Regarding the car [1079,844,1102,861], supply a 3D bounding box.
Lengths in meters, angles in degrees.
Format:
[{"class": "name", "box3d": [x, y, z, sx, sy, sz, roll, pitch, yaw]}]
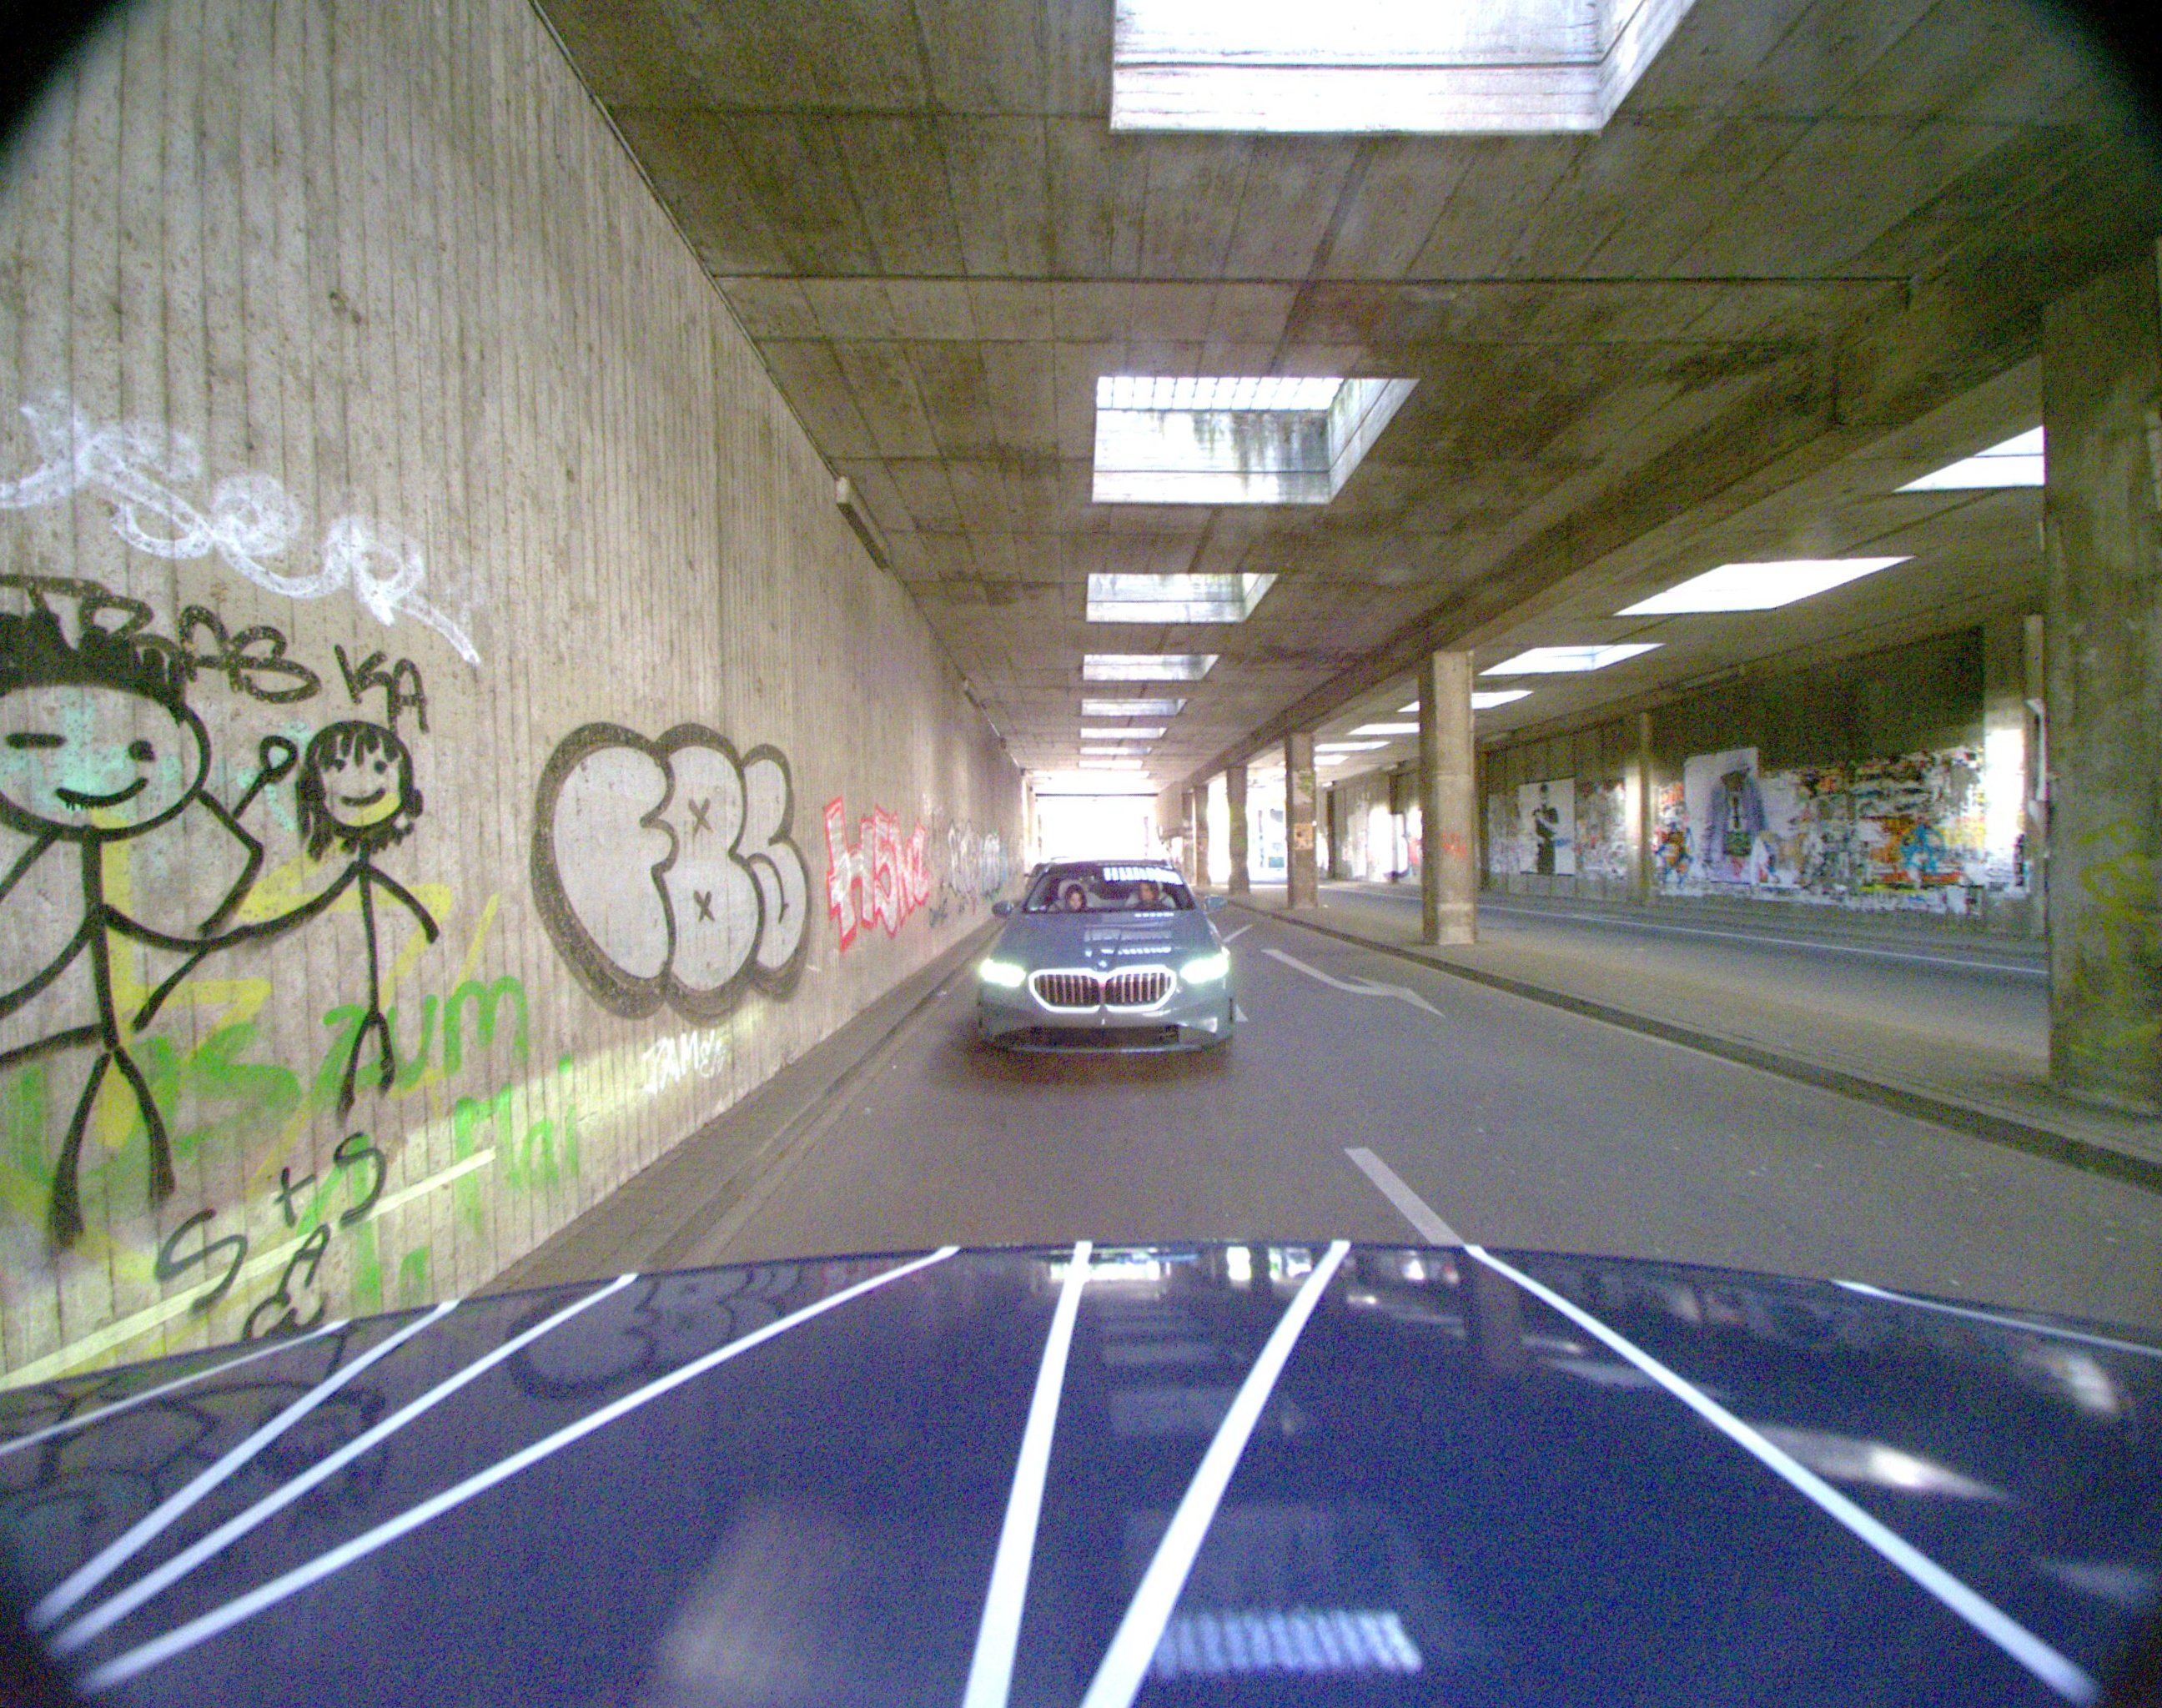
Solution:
[{"class": "car", "box3d": [1.263, -0.170, 103.636, 2.161, 2.150, 4.785, -2, 0, -12]}]

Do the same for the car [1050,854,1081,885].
[{"class": "car", "box3d": [-0.816, 0.821, 41.224, 1.592, 1.562, 3.694, -2, 0, 0]}]

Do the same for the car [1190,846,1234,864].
[{"class": "car", "box3d": [12.572, 0.091, 73.174, 3.873, 1.597, 1.728, -3, 1, 1]}]

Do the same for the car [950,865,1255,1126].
[{"class": "car", "box3d": [0.123, 0.917, 7.255, 1.861, 1.516, 5.042, -2, 0, 0]}]

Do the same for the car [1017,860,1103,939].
[{"class": "car", "box3d": [-0.432, 0.933, 17.264, 1.679, 1.516, 3.969, -2, 0, 0]}]

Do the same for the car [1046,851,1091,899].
[{"class": "car", "box3d": [-0.471, 0.785, 29.897, 1.592, 1.711, 3.694, -2, 0, 0]}]

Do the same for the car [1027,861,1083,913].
[{"class": "car", "box3d": [-0.769, 0.962, 23.890, 1.592, 1.432, 3.806, -2, 0, 0]}]

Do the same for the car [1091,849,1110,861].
[{"class": "car", "box3d": [2.461, 0.159, 97.944, 1.741, 1.519, 3.786, -2, 0, -9]}]
